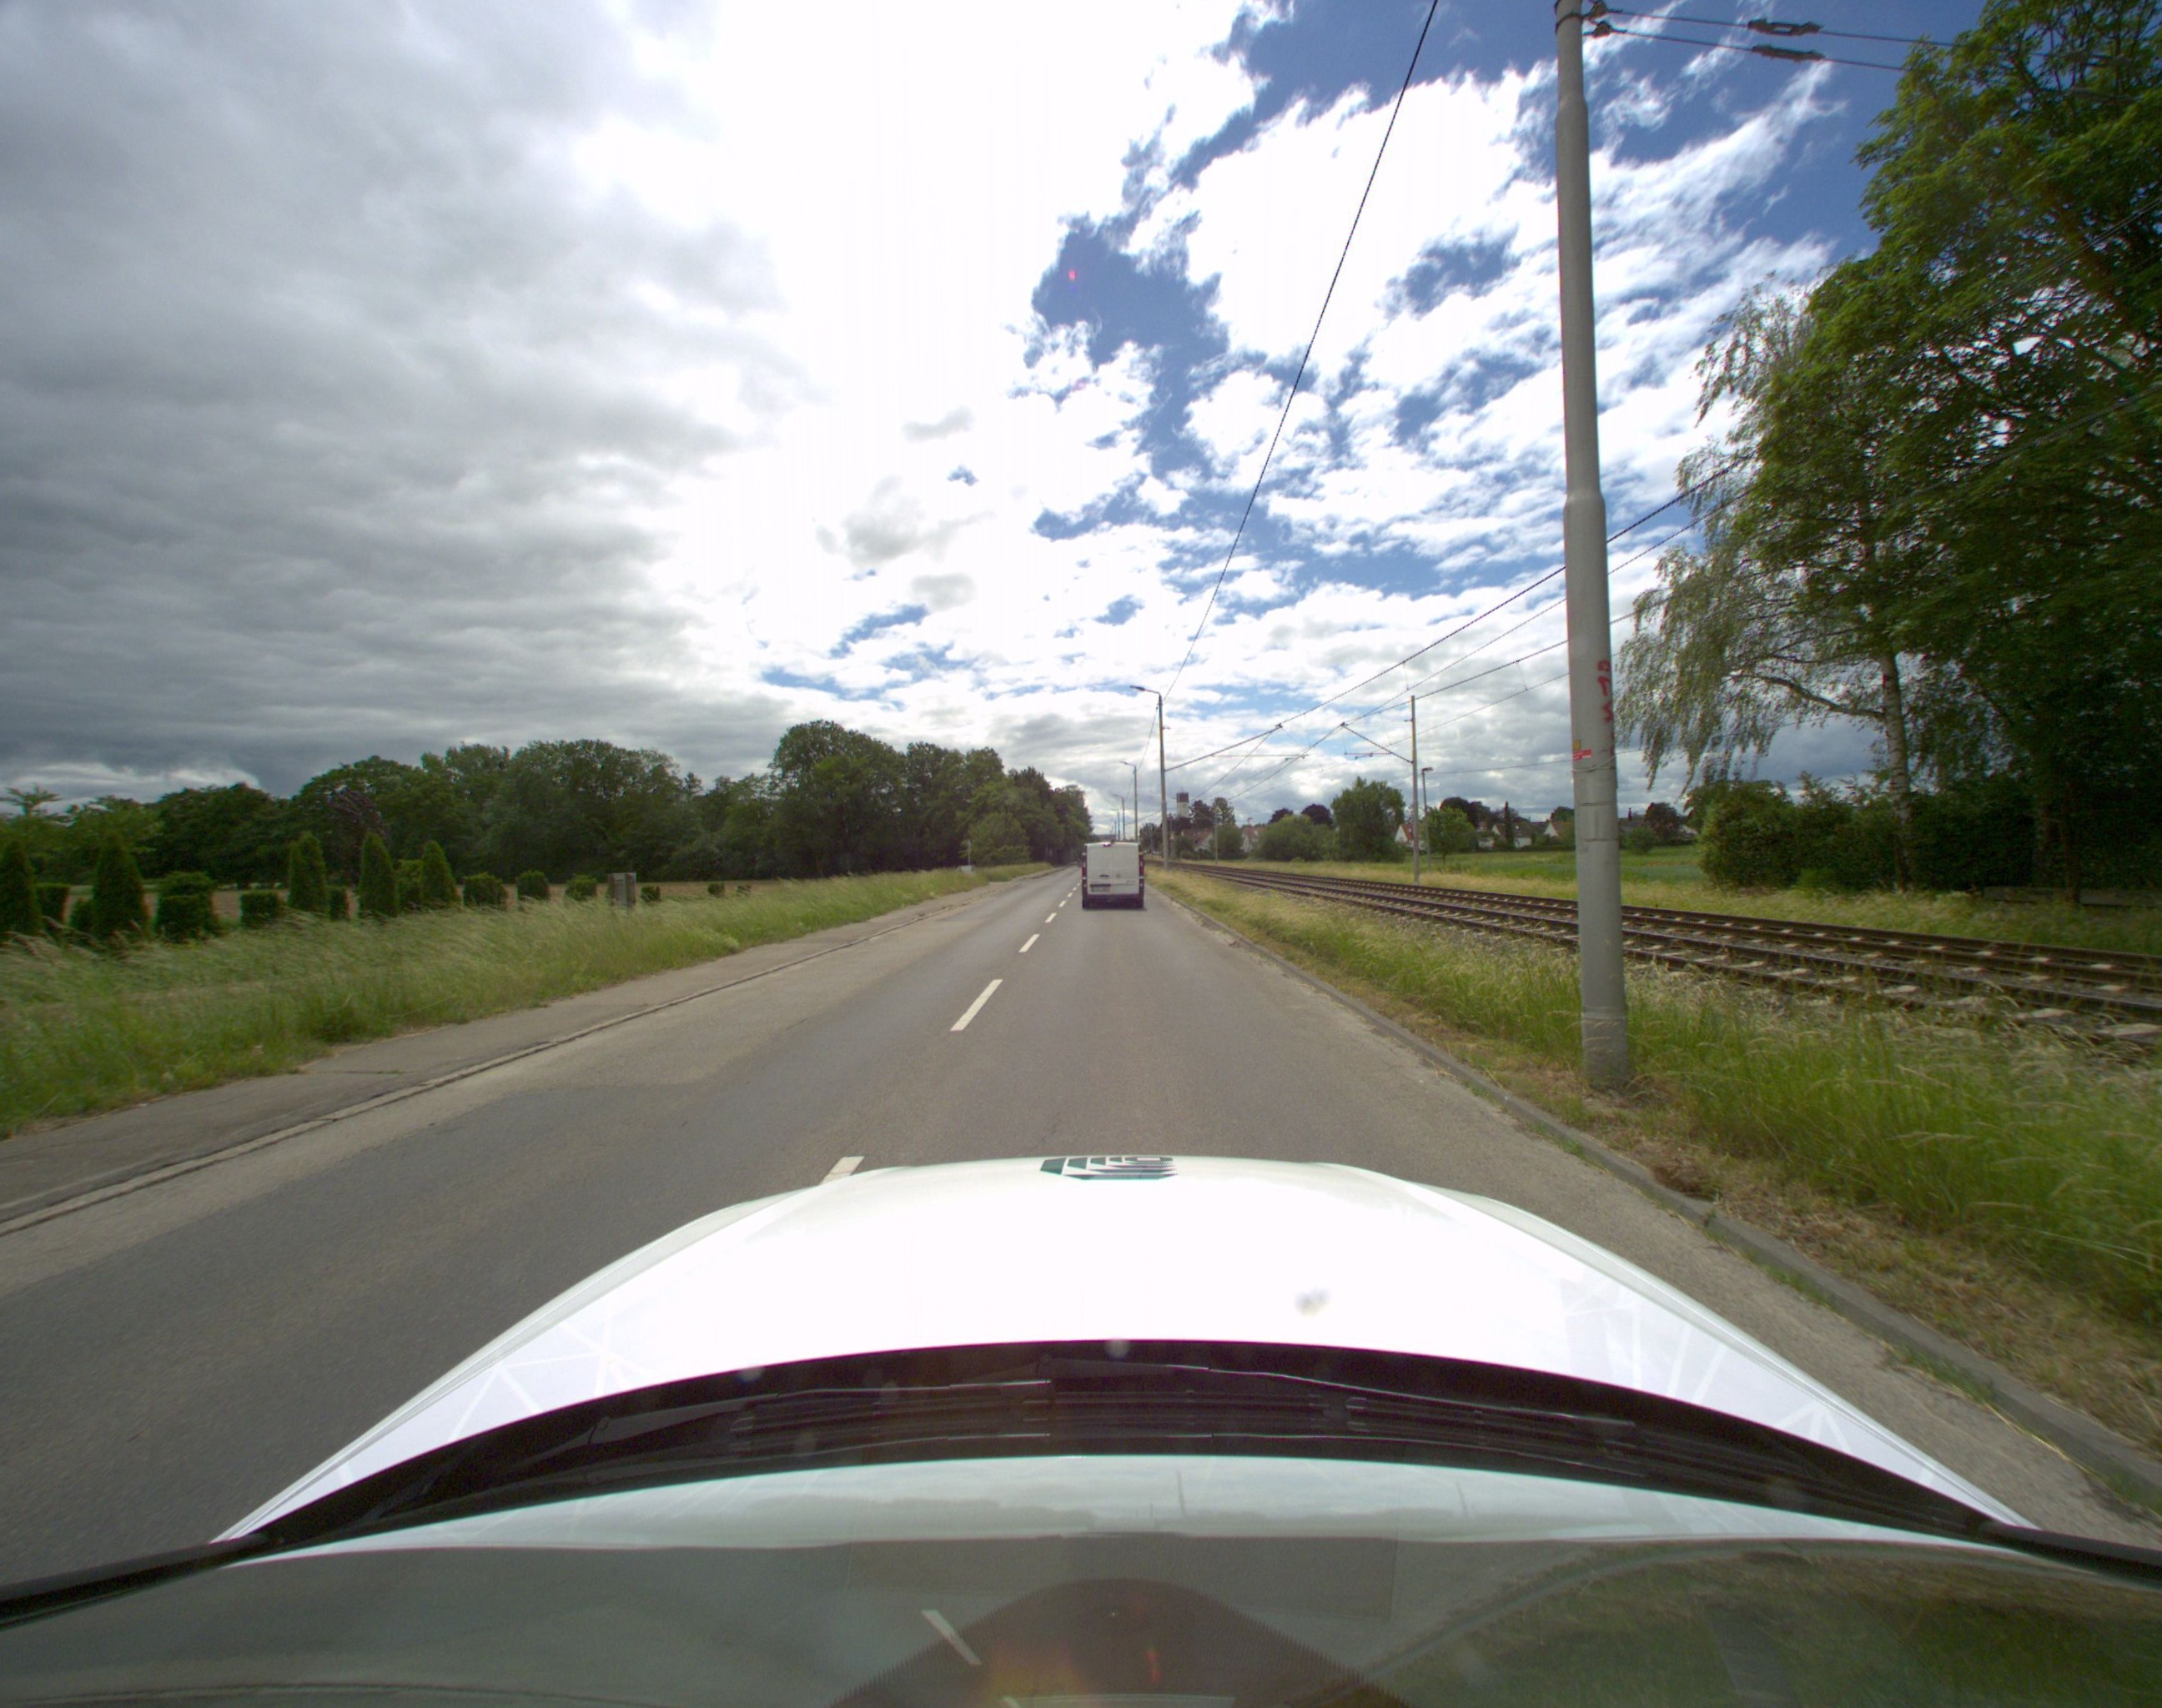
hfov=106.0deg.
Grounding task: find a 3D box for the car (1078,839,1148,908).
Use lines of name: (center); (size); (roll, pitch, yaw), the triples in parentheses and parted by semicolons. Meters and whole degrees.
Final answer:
car: (0.934, 0.571, 25.335); (1.987, 1.957, 4.000); (0, -1, 0)
